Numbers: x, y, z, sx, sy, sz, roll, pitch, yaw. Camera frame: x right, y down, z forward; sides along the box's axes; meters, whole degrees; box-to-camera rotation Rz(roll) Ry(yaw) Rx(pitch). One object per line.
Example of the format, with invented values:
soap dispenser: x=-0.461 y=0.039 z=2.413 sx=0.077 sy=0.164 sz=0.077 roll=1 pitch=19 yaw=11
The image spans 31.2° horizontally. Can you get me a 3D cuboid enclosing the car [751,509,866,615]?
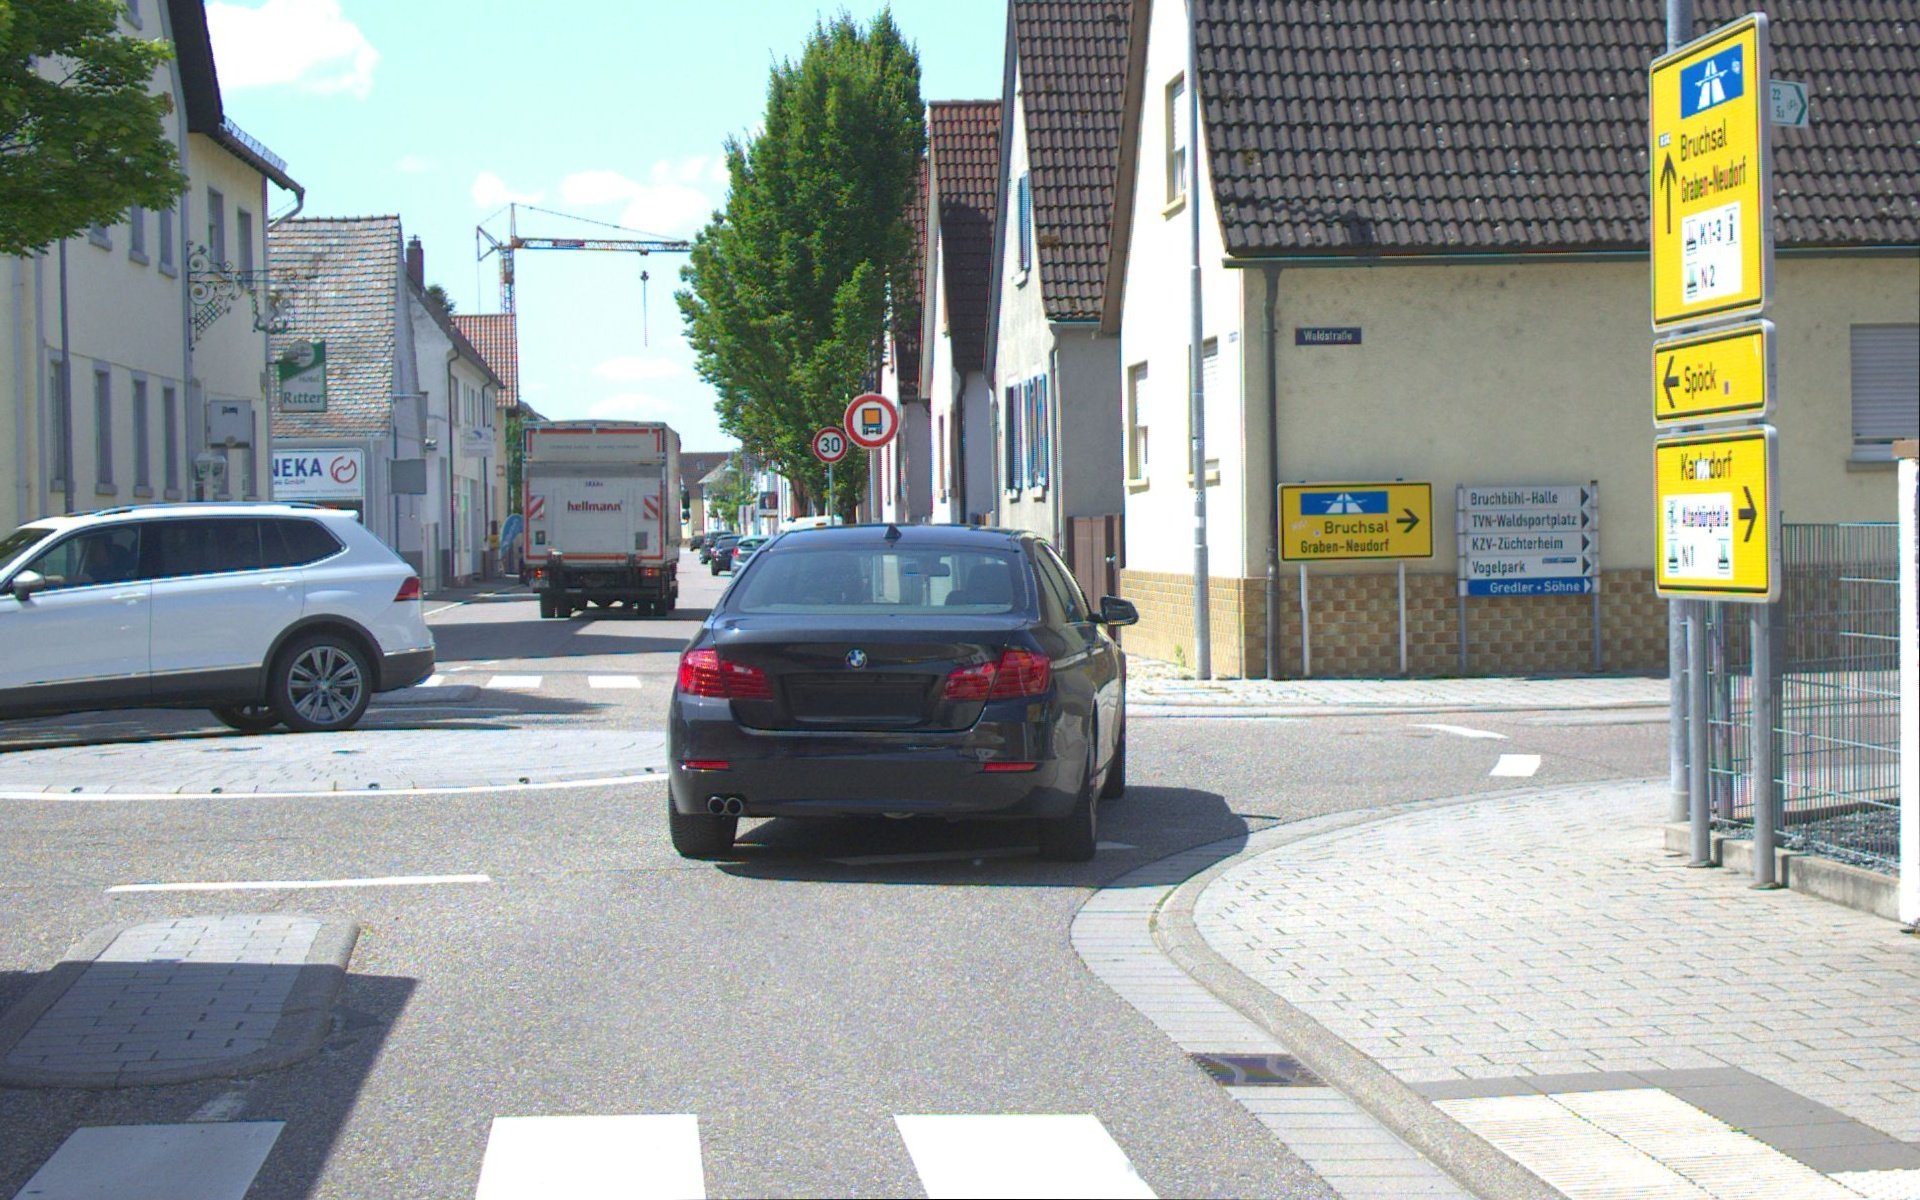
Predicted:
car: x=-2.771 y=-0.707 z=62.062 sx=1.719 sy=1.784 sz=4.145 roll=-3 pitch=1 yaw=-6

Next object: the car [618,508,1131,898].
car: x=-0.241 y=0.367 z=16.187 sx=1.902 sy=1.558 sz=4.476 roll=-1 pitch=1 yaw=5

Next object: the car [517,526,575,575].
car: x=-13.589 y=-1.642 z=112.974 sx=1.809 sy=1.583 sz=4.001 roll=-1 pitch=1 yaw=-5

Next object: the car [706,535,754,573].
car: x=-8.514 y=-1.724 z=126.970 sx=1.719 sy=1.350 sz=4.157 roll=-1 pitch=1 yaw=-5

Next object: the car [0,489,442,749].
car: x=-6.149 y=0.113 z=24.264 sx=4.527 sy=1.704 sz=1.872 roll=-2 pitch=2 yaw=-30

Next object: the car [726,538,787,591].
car: x=-5.828 y=-1.044 z=98.723 sx=1.719 sy=1.456 sz=4.157 roll=0 pitch=1 yaw=-3

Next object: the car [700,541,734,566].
car: x=-12.445 y=-2.383 z=175.901 sx=1.719 sy=1.264 sz=4.157 roll=-1 pitch=1 yaw=-5

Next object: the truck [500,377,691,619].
truck: x=-6.802 y=-1.856 z=65.359 sx=3.144 sy=4.236 sz=9.303 roll=1 pitch=1 yaw=-4

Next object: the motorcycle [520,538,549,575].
motorcycle: x=-13.444 y=-1.369 z=108.593 sx=0.846 sy=1.166 sz=2.470 roll=1 pitch=1 yaw=-6
